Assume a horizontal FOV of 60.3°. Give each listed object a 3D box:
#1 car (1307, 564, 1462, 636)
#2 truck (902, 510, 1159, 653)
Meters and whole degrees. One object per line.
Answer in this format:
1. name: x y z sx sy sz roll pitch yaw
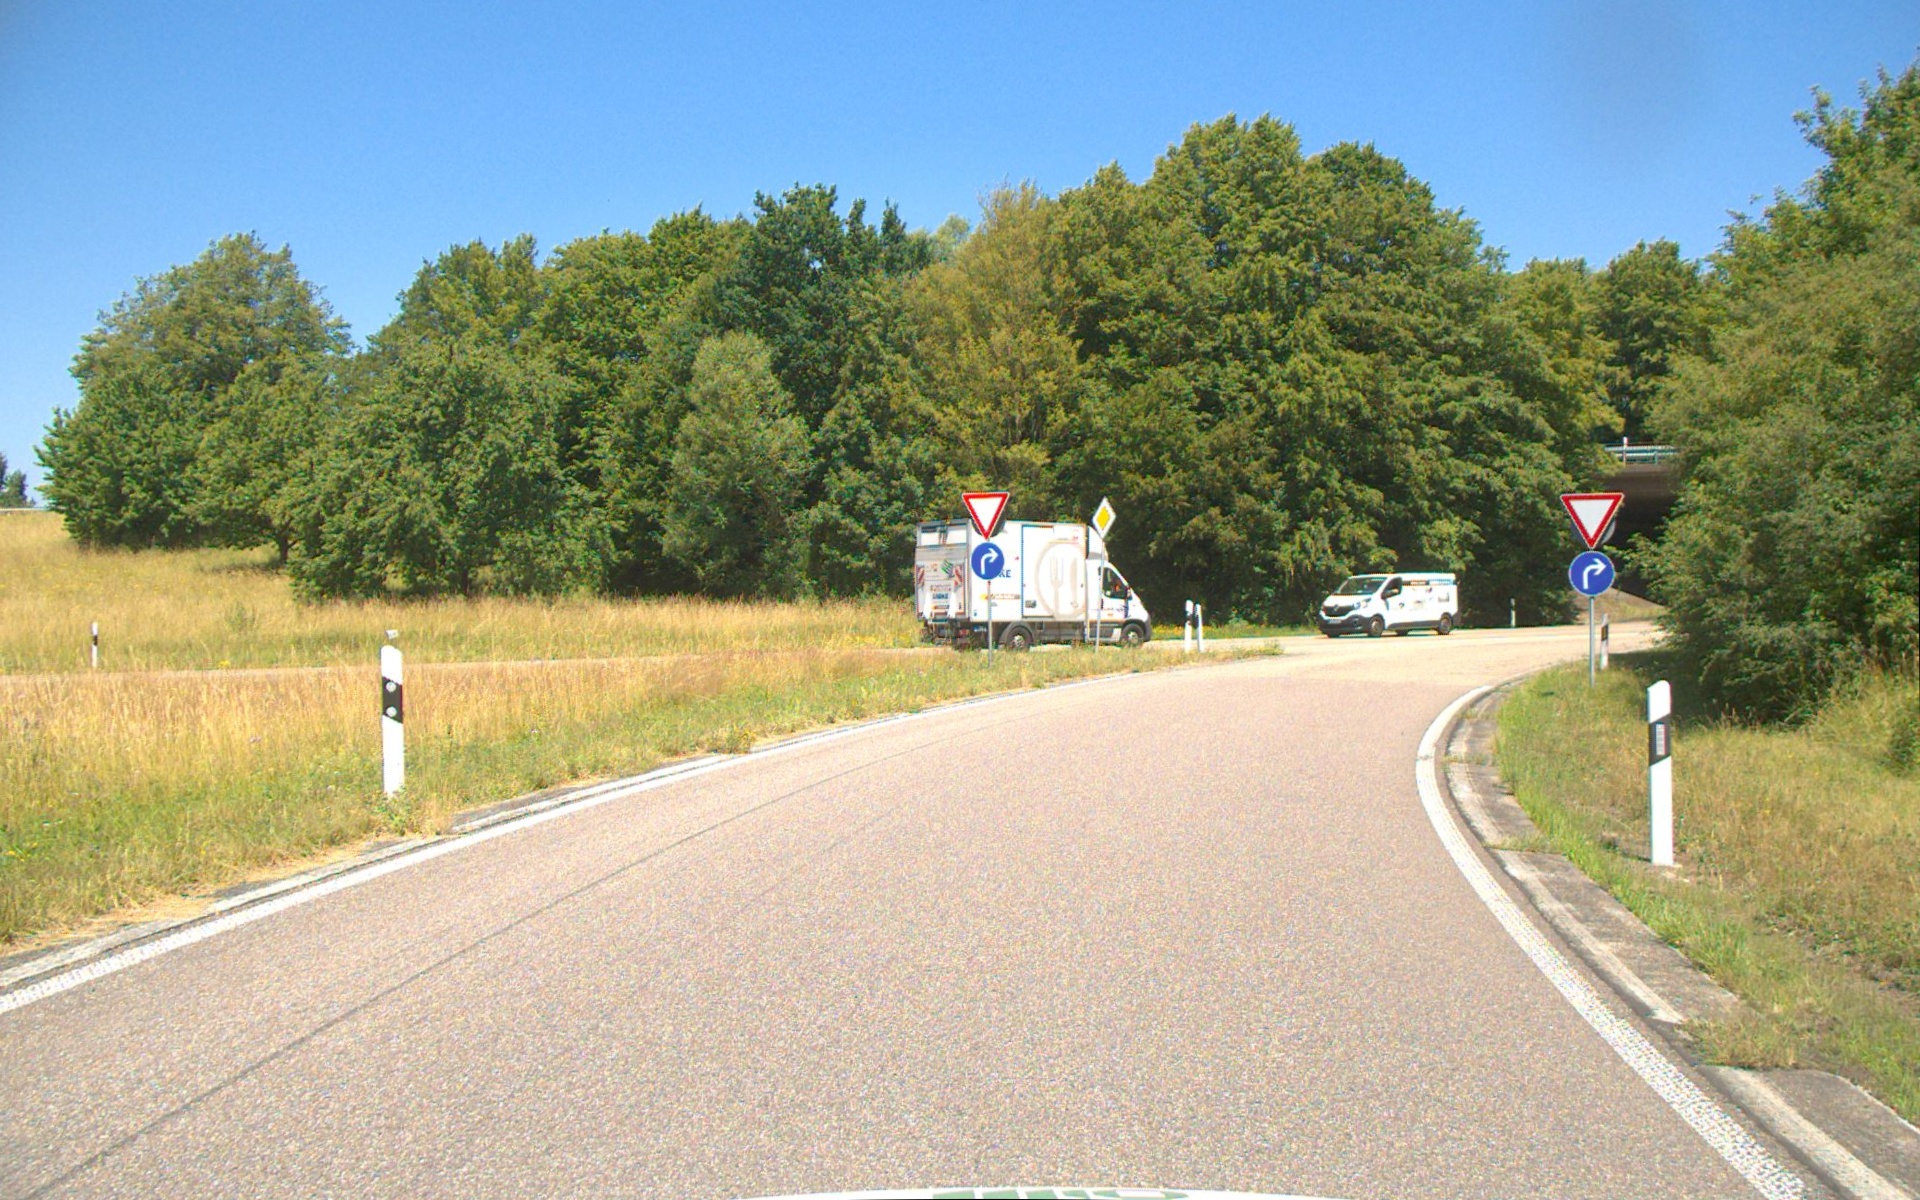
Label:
1. car: 13.385 -0.016 51.981 5.341 1.995 1.888 -3 1 -39
2. truck: 1.678 -0.409 37.759 5.833 3.037 2.218 0 0 -38
